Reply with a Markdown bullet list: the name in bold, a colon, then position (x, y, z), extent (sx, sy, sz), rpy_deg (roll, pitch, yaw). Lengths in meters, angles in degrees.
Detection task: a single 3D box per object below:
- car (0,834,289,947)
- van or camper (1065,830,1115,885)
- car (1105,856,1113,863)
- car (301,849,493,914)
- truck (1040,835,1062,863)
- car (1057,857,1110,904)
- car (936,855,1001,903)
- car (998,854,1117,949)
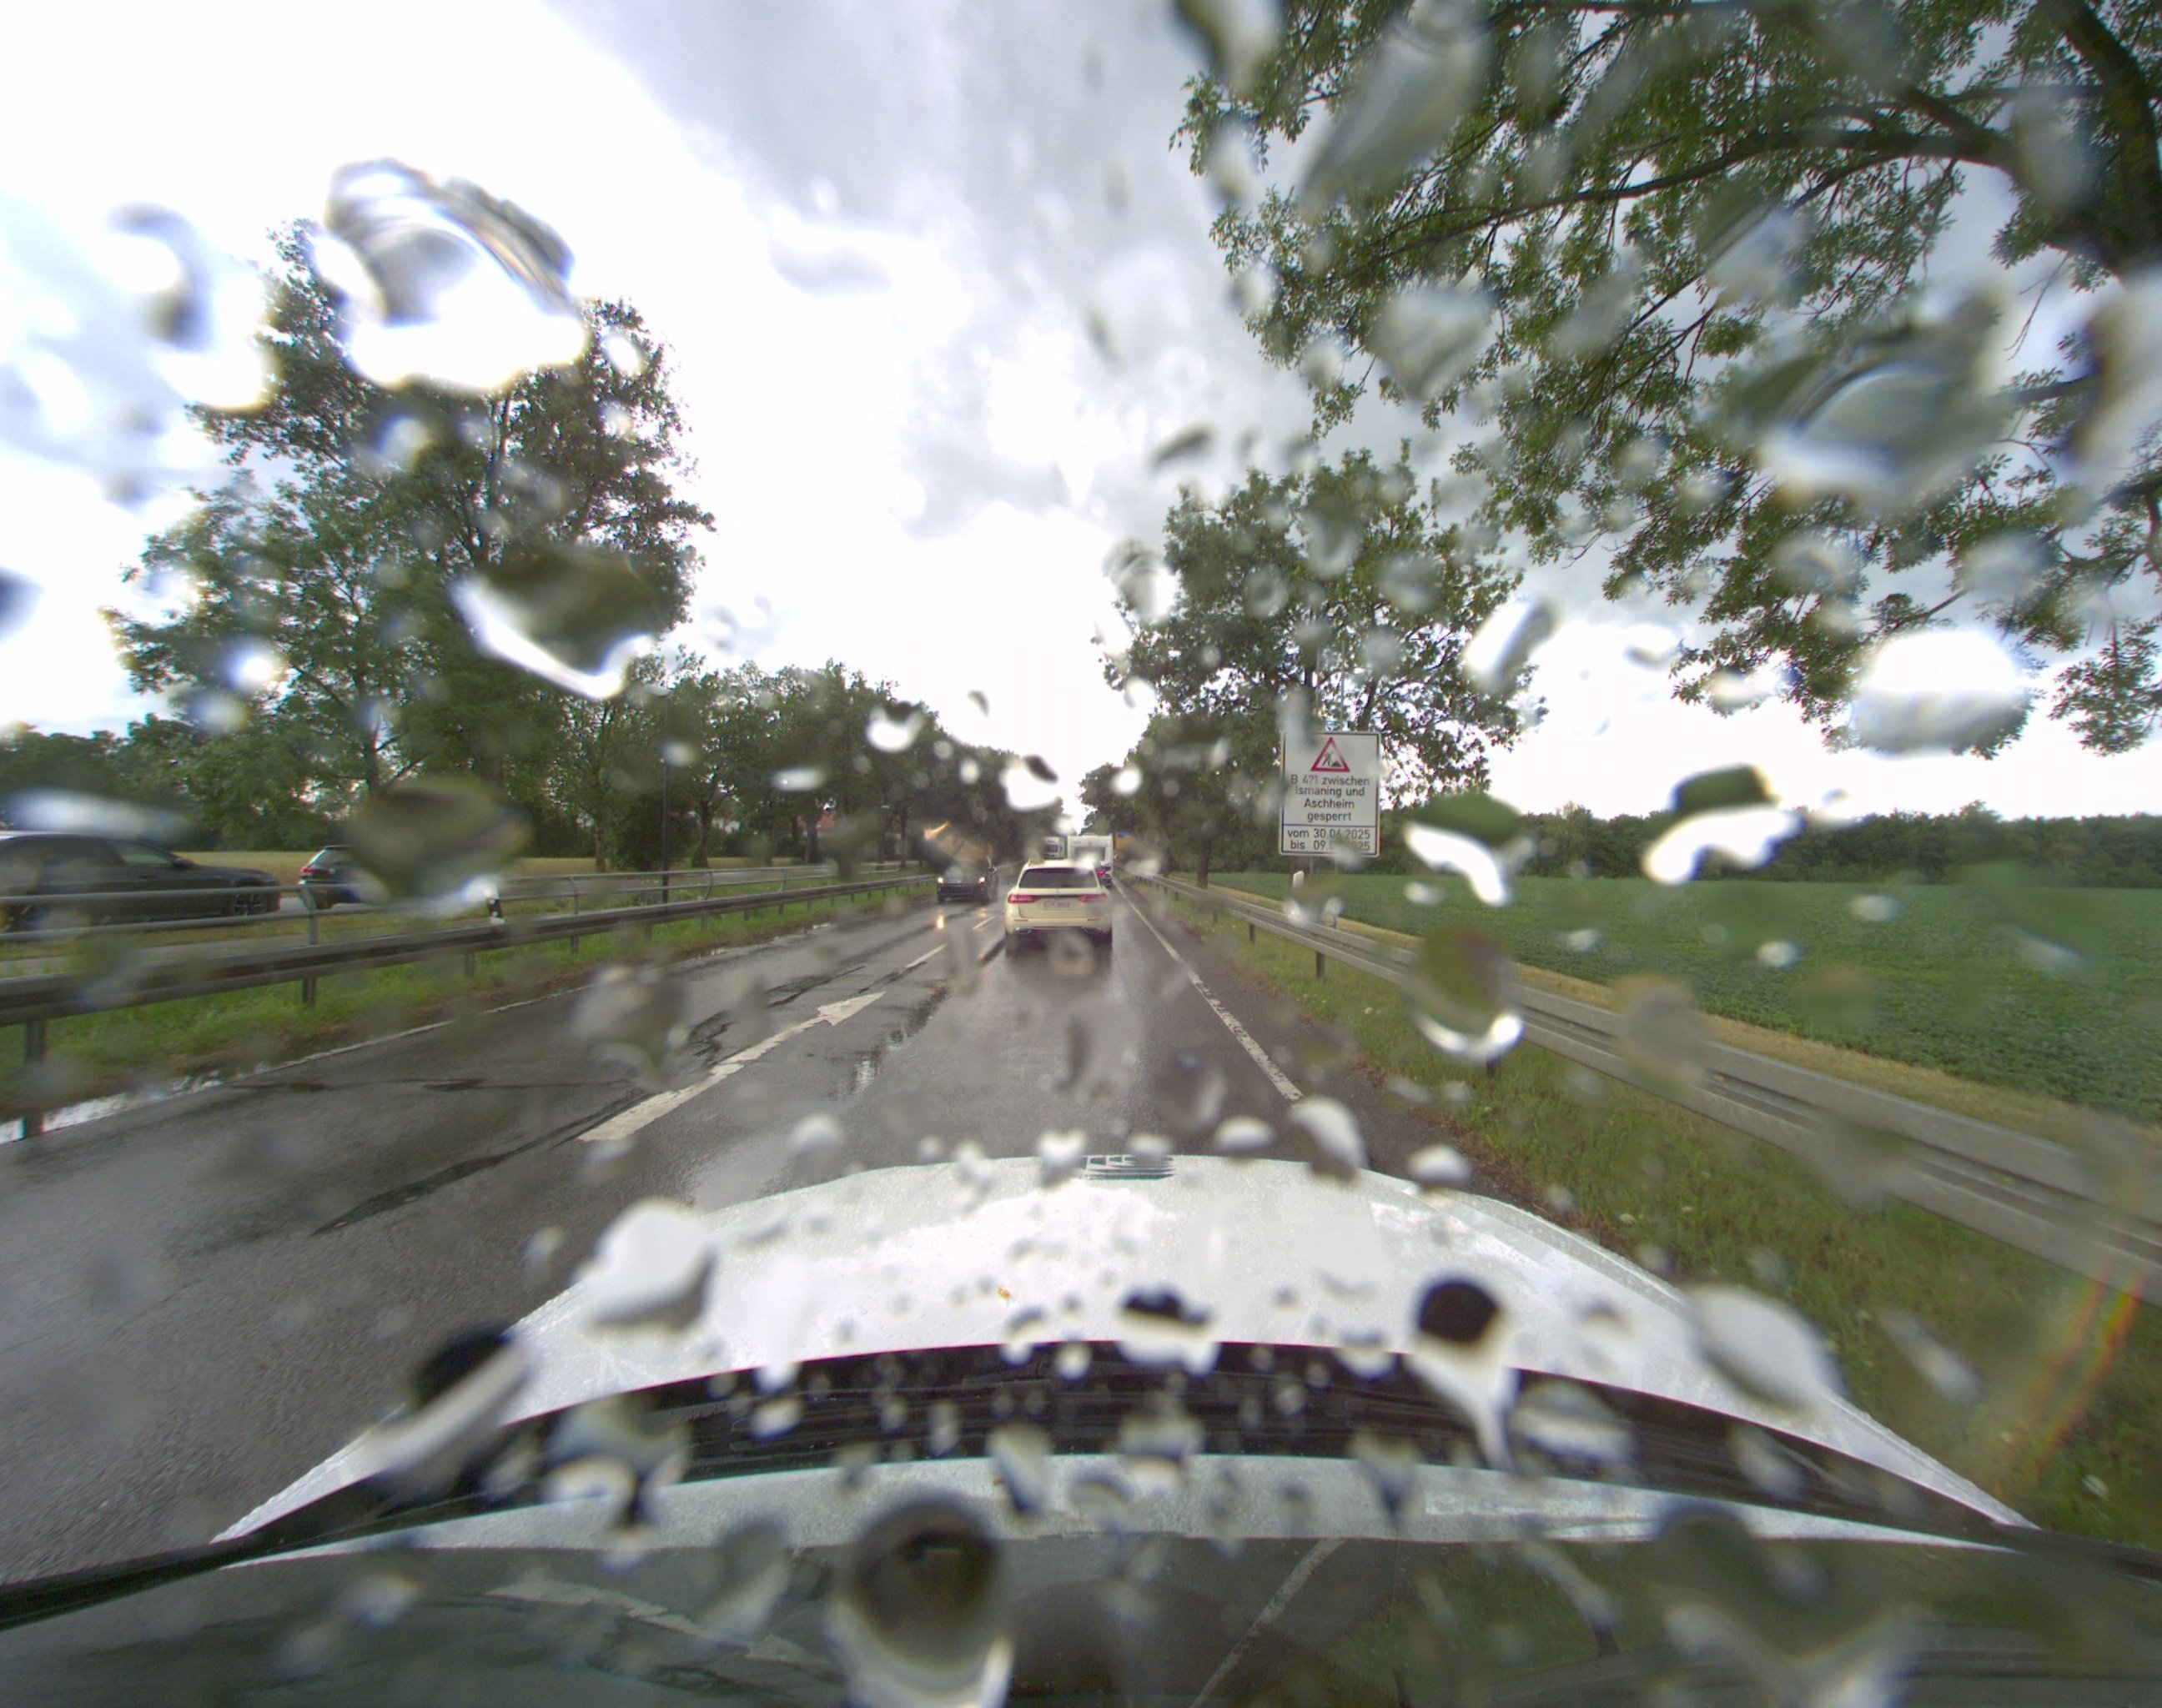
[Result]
- **car**: position (-15.129, 0.469, 12.301), extent (1.512, 1.491, 5.115), rpy_deg (1, 0, -4)
- **van or camper**: position (0.538, 0.177, 42.555), extent (2.480, 2.685, 5.703), rpy_deg (0, 0, 2)
- **car**: position (5.011, 1.013, 145.999), extent (1.546, 1.118, 4.001), rpy_deg (0, -1, 2)
- **car**: position (-15.521, 0.572, 18.764), extent (1.280, 1.331, 3.893), rpy_deg (0, 0, -3)
- **truck**: position (-3.843, -0.649, 106.185), extent (2.568, 3.452, 9.553), rpy_deg (-1, 0, 0)
- **car**: position (0.161, 0.843, 27.724), extent (1.658, 1.431, 4.002), rpy_deg (-1, 0, 2)
- **car**: position (-4.011, 0.842, 29.561), extent (1.758, 1.619, 4.000), rpy_deg (-1, 0, 0)
- **car**: position (-0.299, 0.752, 14.869), extent (1.858, 1.476, 4.002), rpy_deg (-1, 0, 2)
